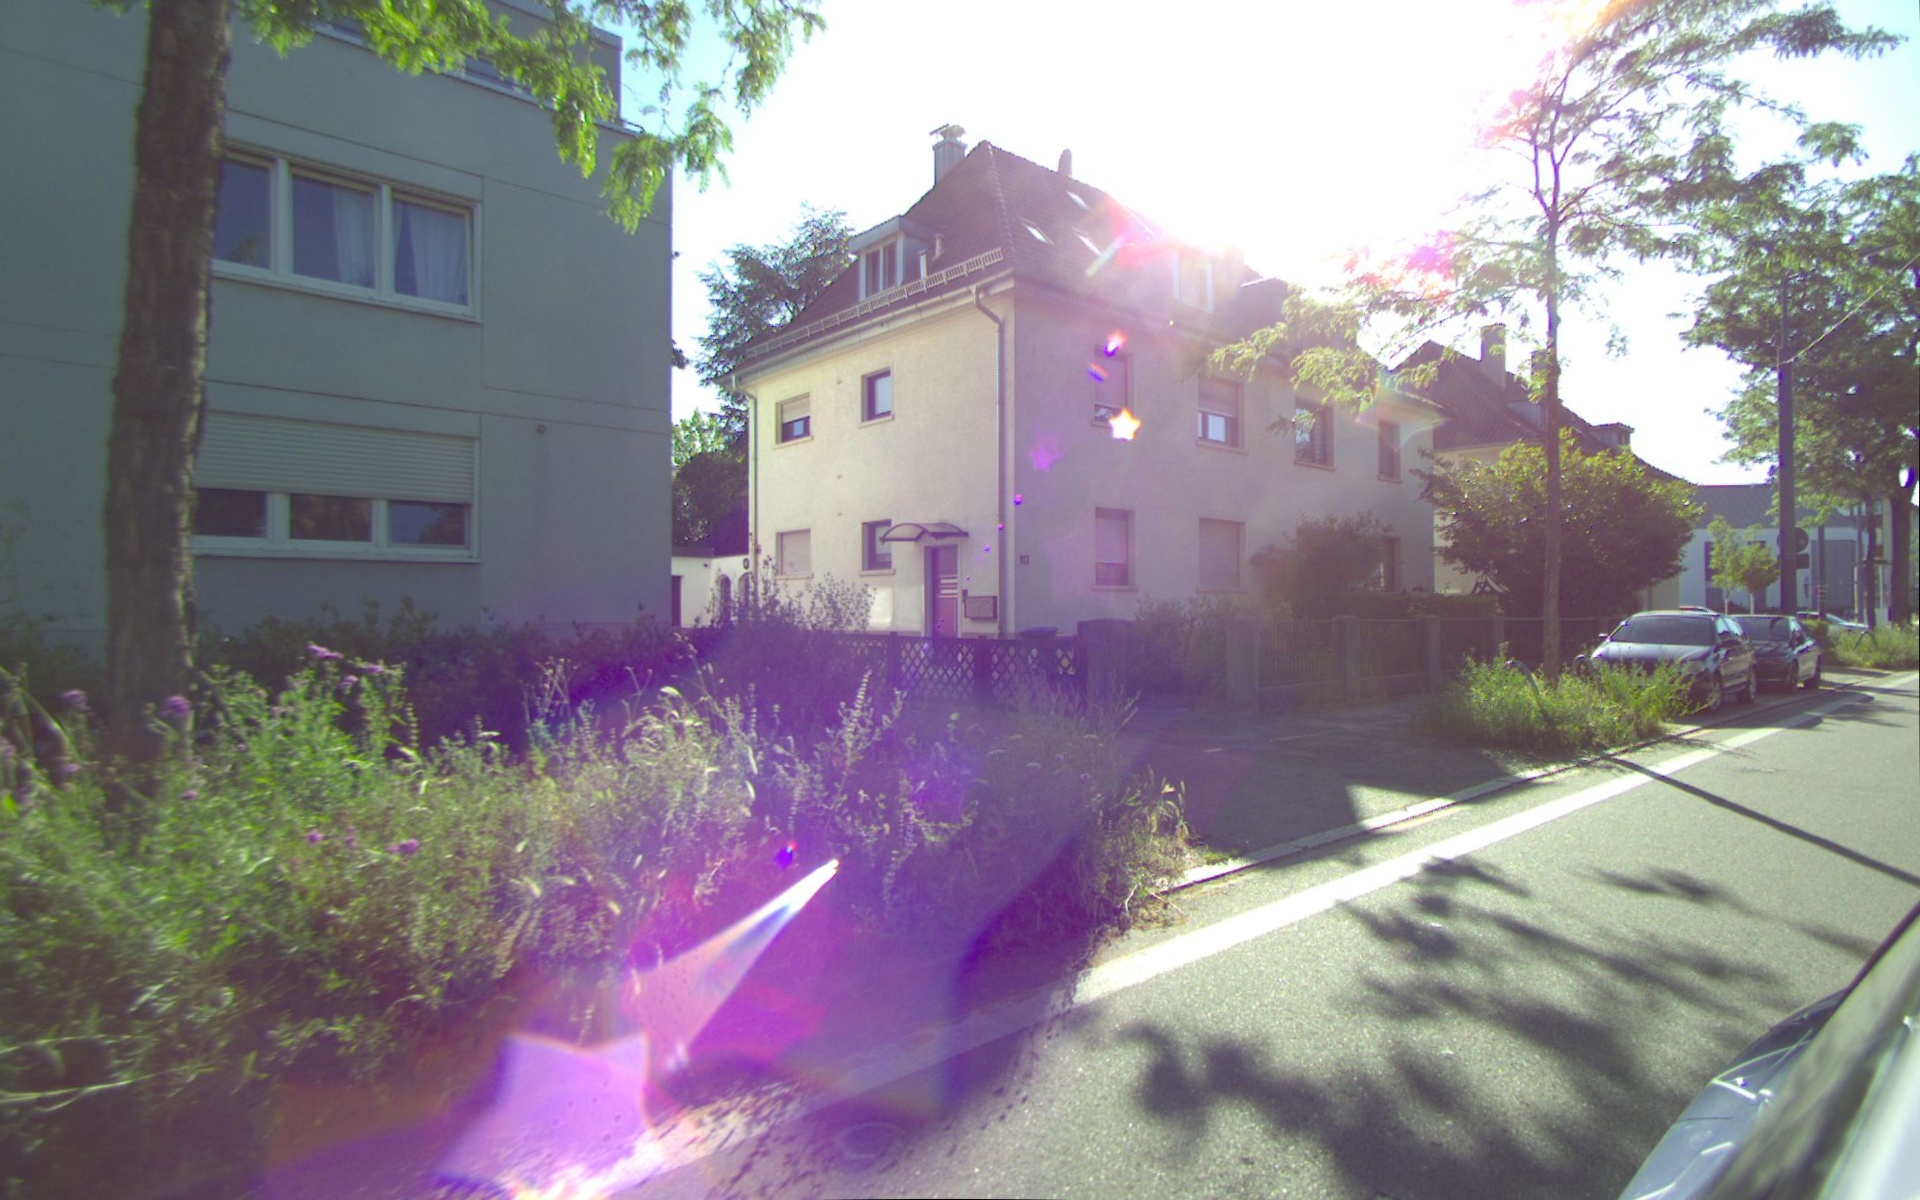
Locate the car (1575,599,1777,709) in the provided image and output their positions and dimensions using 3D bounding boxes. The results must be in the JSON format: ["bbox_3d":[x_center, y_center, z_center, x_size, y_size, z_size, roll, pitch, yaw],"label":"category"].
[{"bbox_3d":[11.367,0.754,15.979,3.927,1.514,1.751,0,0,-41],"label":"car"}]

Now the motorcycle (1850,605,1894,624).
[{"bbox_3d":[56.460,0.876,62.676,1.997,1.172,0.848,-1,-1,43],"label":"motorcycle"}]

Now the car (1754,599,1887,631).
[{"bbox_3d":[42.606,0.711,50.209,1.942,1.484,4.623,-2,1,-29],"label":"car"}]

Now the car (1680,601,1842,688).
[{"bbox_3d":[15.741,0.783,19.806,4.366,1.514,1.751,0,0,-41],"label":"car"}]

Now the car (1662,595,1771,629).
[{"bbox_3d":[38.675,0.623,51.777,1.948,1.663,4.167,0,-1,-42],"label":"car"}]
